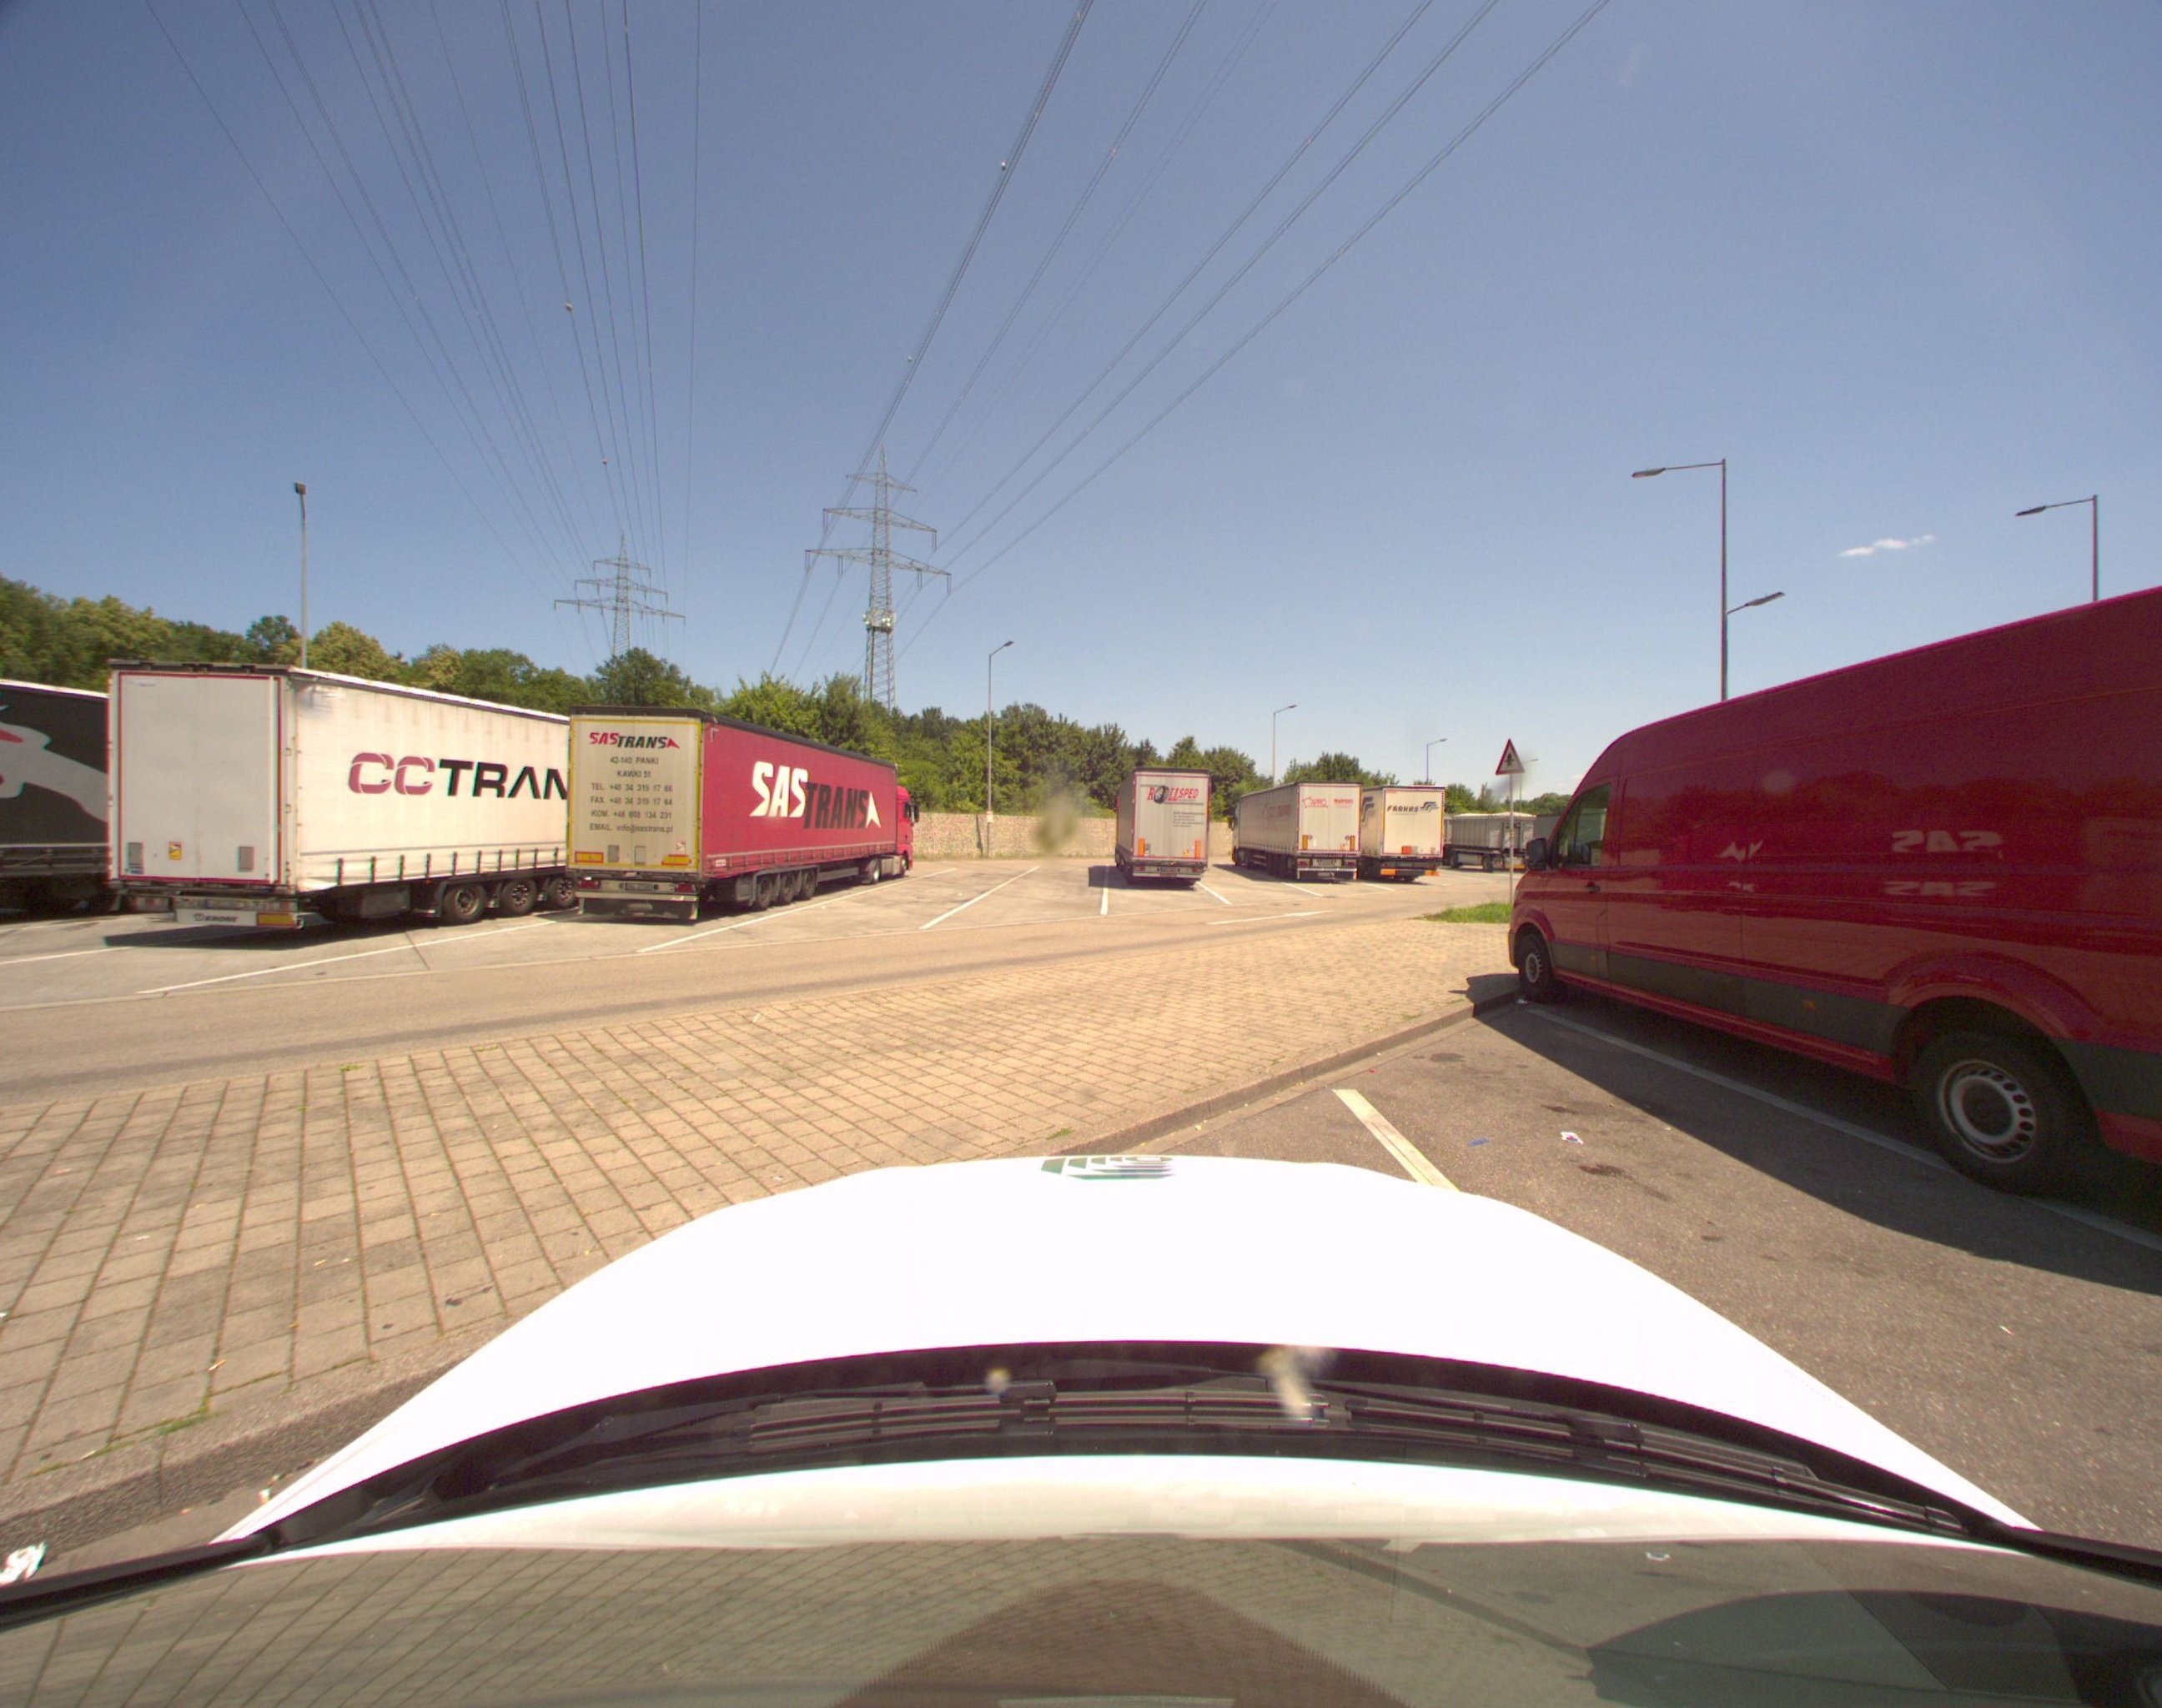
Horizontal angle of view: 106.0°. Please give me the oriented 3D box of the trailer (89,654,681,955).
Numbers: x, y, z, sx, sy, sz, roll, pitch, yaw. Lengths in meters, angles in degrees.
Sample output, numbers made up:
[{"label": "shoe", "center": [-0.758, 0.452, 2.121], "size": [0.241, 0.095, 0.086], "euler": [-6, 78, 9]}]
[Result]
[{"label": "trailer", "center": [-12.155, -0.840, 16.422], "size": [2.696, 4.101, 10.395], "euler": [1, 2, 2]}]

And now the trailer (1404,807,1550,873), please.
[{"label": "trailer", "center": [24.442, -0.994, 51.503], "size": [2.847, 3.599, 13.770], "euler": [1, 2, 2]}]

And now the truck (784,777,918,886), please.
[{"label": "truck", "center": [-7.828, -0.794, 28.544], "size": [2.801, 3.362, 5.977], "euler": [1, 2, 2]}]

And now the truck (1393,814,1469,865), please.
[{"label": "truck", "center": [24.627, -1.082, 57.600], "size": [2.855, 3.362, 5.977], "euler": [1, 2, 2]}]

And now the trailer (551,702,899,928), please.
[{"label": "trailer", "center": [-8.042, -0.926, 21.727], "size": [2.811, 4.070, 13.770], "euler": [1, 2, 2]}]

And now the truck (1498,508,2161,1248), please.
[{"label": "truck", "center": [5.149, 0.082, 5.455], "size": [2.001, 2.651, 6.466], "euler": [-1, 0, 6]}]

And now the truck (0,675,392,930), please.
[{"label": "truck", "center": [-18.544, -0.937, 15.829], "size": [2.696, 4.070, 8.694], "euler": [1, 2, 2]}]

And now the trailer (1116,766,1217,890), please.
[{"label": "trailer", "center": [3.052, -1.048, 33.211], "size": [2.848, 3.971, 13.767], "euler": [1, 2, 1]}]

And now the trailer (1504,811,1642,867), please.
[{"label": "trailer", "center": [38.221, -1.296, 64.187], "size": [2.847, 3.904, 13.770], "euler": [1, 2, 2]}]

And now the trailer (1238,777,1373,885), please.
[{"label": "trailer", "center": [9.983, -1.119, 38.303], "size": [2.847, 4.109, 13.770], "euler": [1, 2, 2]}]

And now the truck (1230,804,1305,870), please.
[{"label": "truck", "center": [10.180, -0.977, 45.067], "size": [2.855, 3.362, 5.977], "euler": [1, 2, 2]}]

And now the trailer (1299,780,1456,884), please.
[{"label": "trailer", "center": [13.611, -1.094, 39.227], "size": [2.847, 4.109, 13.770], "euler": [1, 2, 2]}]

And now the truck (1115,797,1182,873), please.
[{"label": "truck", "center": [3.142, -0.939, 39.413], "size": [2.855, 3.362, 5.977], "euler": [1, 2, 2]}]

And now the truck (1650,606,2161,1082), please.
[{"label": "truck", "center": [8.008, -0.068, 6.888], "size": [2.406, 2.906, 6.466], "euler": [-1, 0, 6]}]
